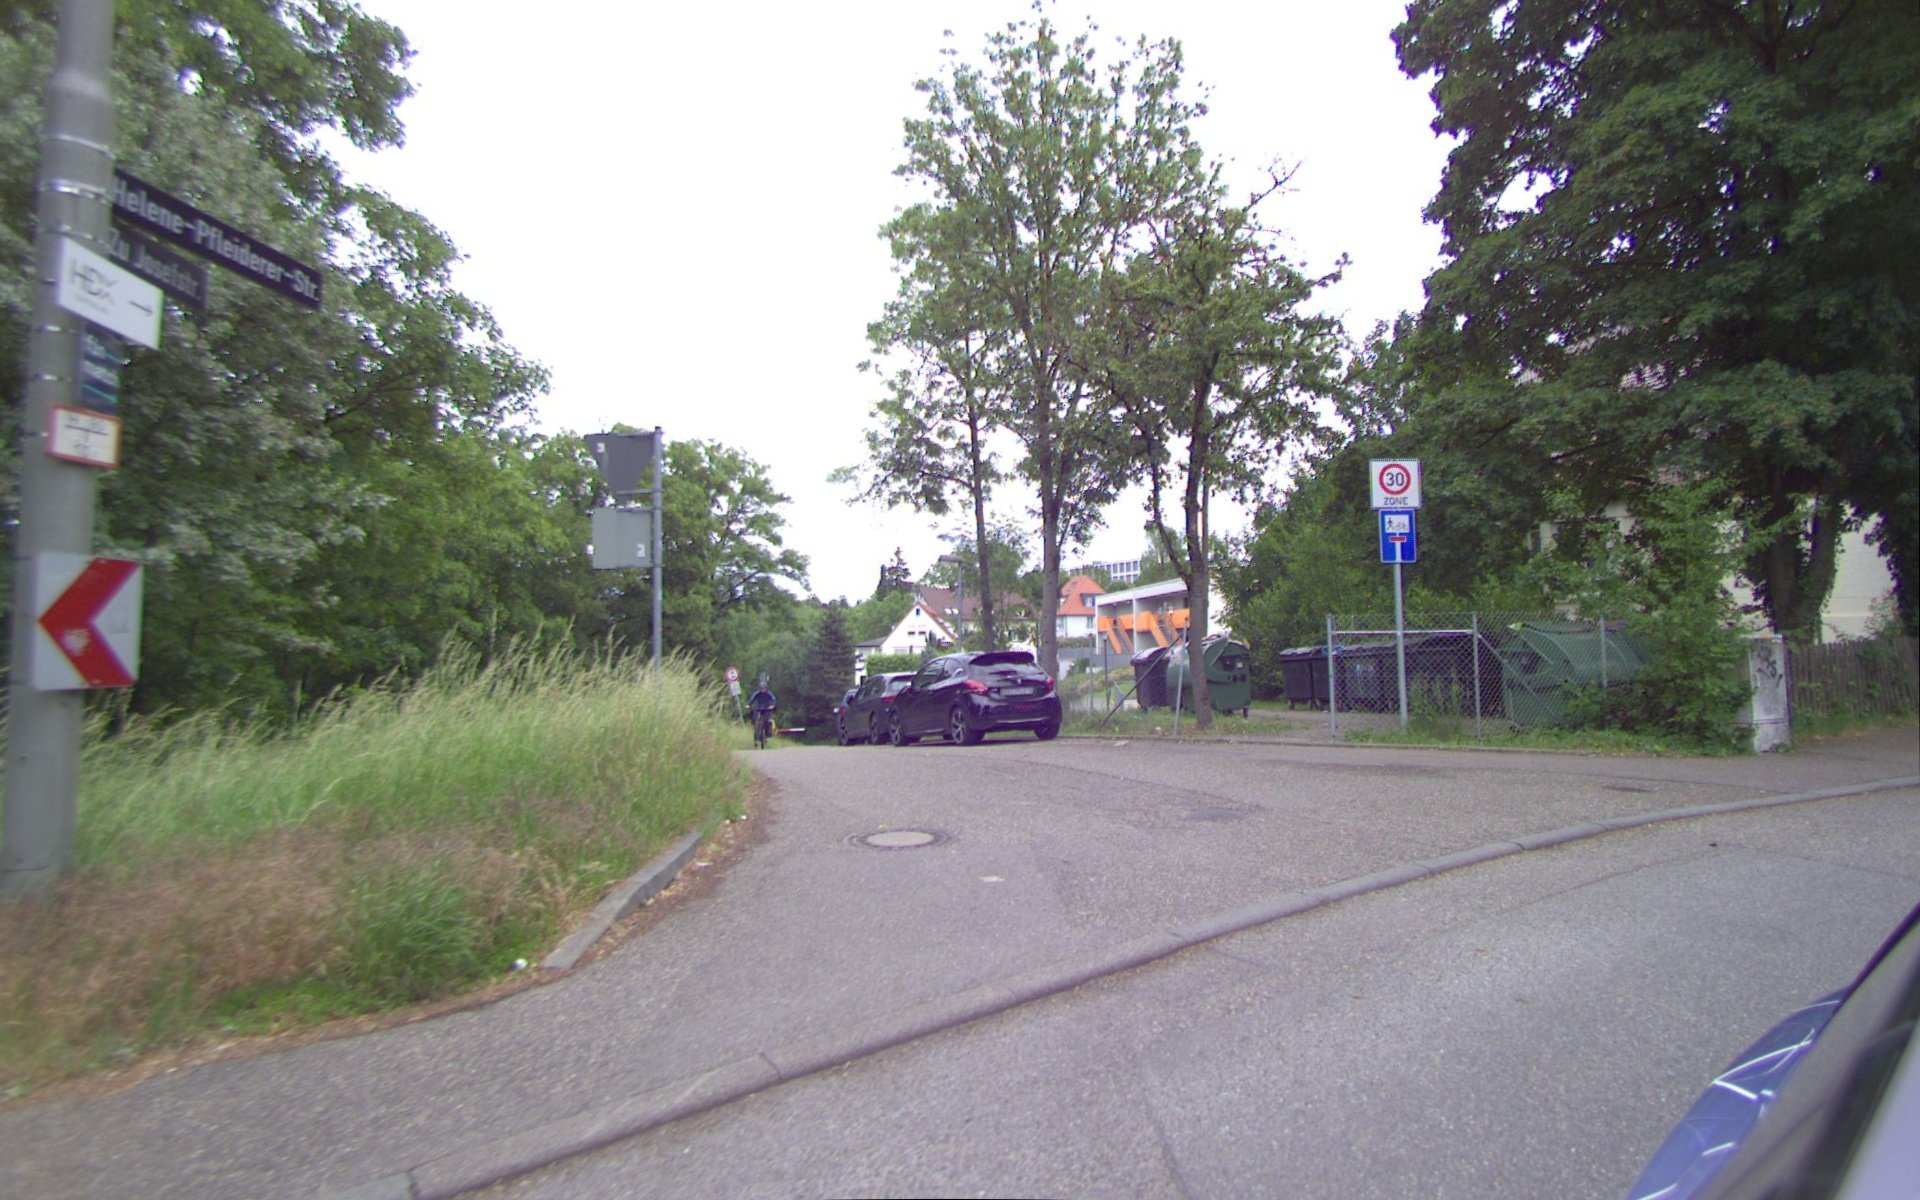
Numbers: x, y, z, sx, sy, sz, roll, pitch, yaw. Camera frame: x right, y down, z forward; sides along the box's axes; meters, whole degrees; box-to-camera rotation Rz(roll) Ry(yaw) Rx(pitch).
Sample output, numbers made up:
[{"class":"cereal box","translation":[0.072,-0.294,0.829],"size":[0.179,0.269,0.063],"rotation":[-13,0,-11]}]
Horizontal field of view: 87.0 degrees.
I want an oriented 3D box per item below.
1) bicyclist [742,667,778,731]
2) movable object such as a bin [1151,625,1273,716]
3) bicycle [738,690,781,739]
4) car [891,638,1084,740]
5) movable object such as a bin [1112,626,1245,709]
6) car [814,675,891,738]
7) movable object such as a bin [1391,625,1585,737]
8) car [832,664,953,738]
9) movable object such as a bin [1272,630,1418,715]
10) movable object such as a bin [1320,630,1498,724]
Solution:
[{"class":"bicyclist","translation":[-5.253,2.591,26.619],"size":[0.751,1.606,0.963],"rotation":[-2,-2,-2]},{"class":"movable object such as a bin","translation":[4.590,1.255,18.550],"size":[1.640,1.568,1.428],"rotation":[0,-2,-17]},{"class":"bicycle","translation":[-5.240,2.983,26.598],"size":[0.751,1.084,2.194],"rotation":[-2,-2,-2]},{"class":"car","translation":[0.323,1.523,16.804],"size":[1.793,1.417,3.675],"rotation":[-1,-6,-23]},{"class":"movable object such as a bin","translation":[4.441,1.348,20.948],"size":[1.416,1.568,2.902],"rotation":[0,-2,-17]},{"class":"car","translation":[-2.881,2.728,26.560],"size":[1.518,1.346,3.606],"rotation":[-2,-2,-13]},{"class":"movable object such as a bin","translation":[9.374,1.385,18.123],"size":[2.162,1.810,2.113],"rotation":[-1,-2,-14]},{"class":"car","translation":[-1.511,2.153,21.240],"size":[1.518,1.346,3.604],"rotation":[-1,-6,-20]},{"class":"movable object such as a bin","translation":[8.673,1.590,22.969],"size":[2.162,1.755,2.239],"rotation":[-1,-2,-14]},{"class":"movable object such as a bin","translation":[9.057,1.501,20.604],"size":[2.162,1.735,2.504],"rotation":[-1,-2,-14]}]
